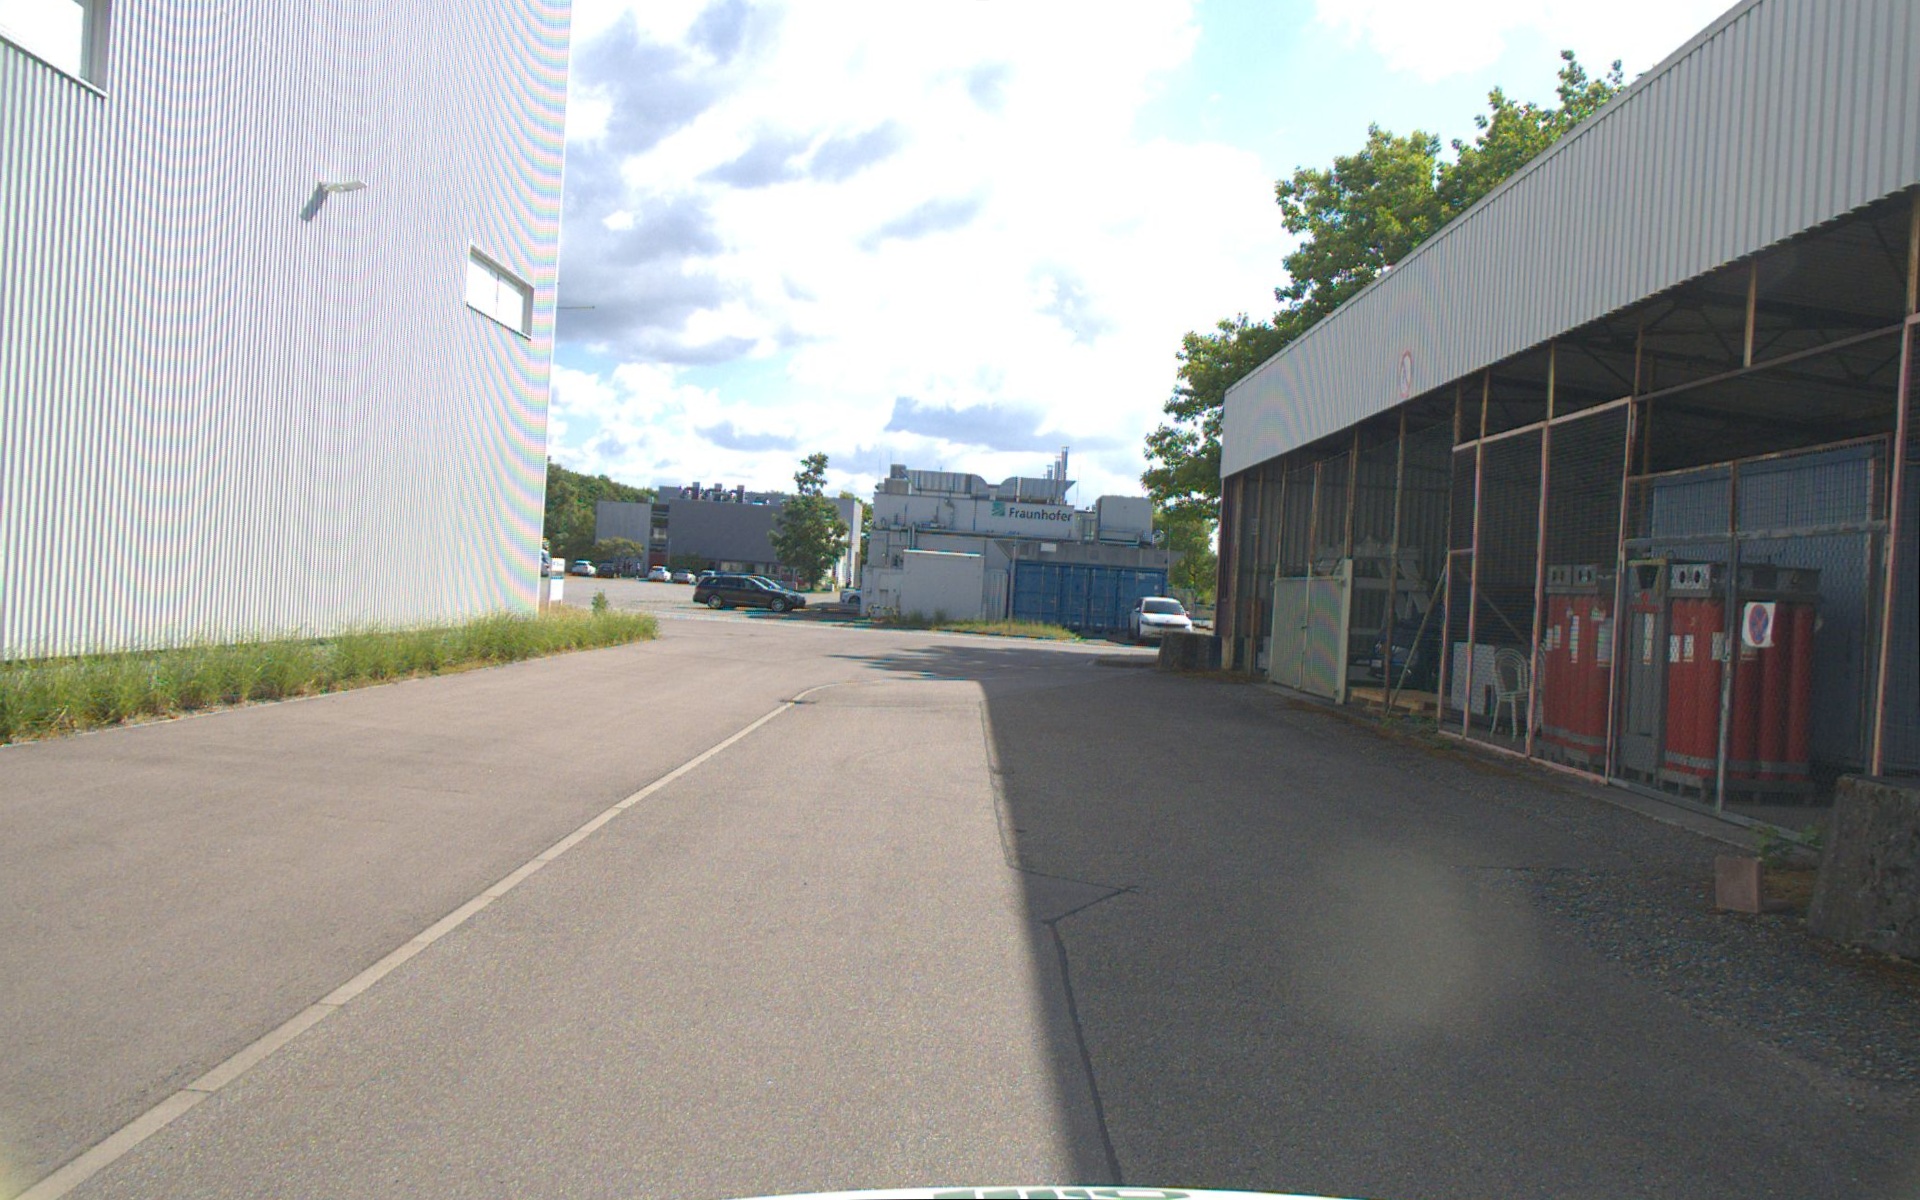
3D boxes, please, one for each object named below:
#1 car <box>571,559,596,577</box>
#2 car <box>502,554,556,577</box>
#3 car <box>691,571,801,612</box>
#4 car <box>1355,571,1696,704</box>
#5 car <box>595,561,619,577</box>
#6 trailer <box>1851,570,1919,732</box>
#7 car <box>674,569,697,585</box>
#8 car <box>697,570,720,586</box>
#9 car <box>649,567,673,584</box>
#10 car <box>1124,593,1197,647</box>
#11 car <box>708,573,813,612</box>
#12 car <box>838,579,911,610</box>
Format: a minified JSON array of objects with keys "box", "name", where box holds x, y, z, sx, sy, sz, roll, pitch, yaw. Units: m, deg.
[{"box":[-38.264,-3.260,168.187,1.810,1.697,4.129,2,0,-5],"name":"car"},{"box":[-36.939,-2.990,141.741,4.024,1.658,1.808,4,0,4],"name":"car"},{"box":[-9.243,-0.336,71.626,4.437,1.468,1.987,3,-1,0],"name":"car"},{"box":[9.735,0.632,28.734,5.065,1.951,2.276,3,0,-6],"name":"car"},{"box":[-35.862,-3.122,168.091,1.841,1.564,4.031,2,0,-5],"name":"car"},{"box":[14.607,0.756,22.730,3.334,2.175,2.465,3,0,2],"name":"trailer"},{"box":[-27.912,-2.327,168.257,1.840,1.564,4.033,2,0,-3],"name":"car"},{"box":[-25.632,-2.260,168.500,1.840,1.564,4.033,2,0,-3],"name":"car"},{"box":[-30.424,-2.479,168.386,1.840,1.719,4.033,2,0,-3],"name":"car"},{"box":[7.123,0.684,59.177,1.941,1.620,4.340,4,2,-1],"name":"car"},{"box":[-9.021,-0.345,74.886,4.437,1.468,1.904,3,-1,0],"name":"car"},{"box":[-5.115,-0.314,99.409,4.192,1.596,1.987,3,-1,0],"name":"car"}]
